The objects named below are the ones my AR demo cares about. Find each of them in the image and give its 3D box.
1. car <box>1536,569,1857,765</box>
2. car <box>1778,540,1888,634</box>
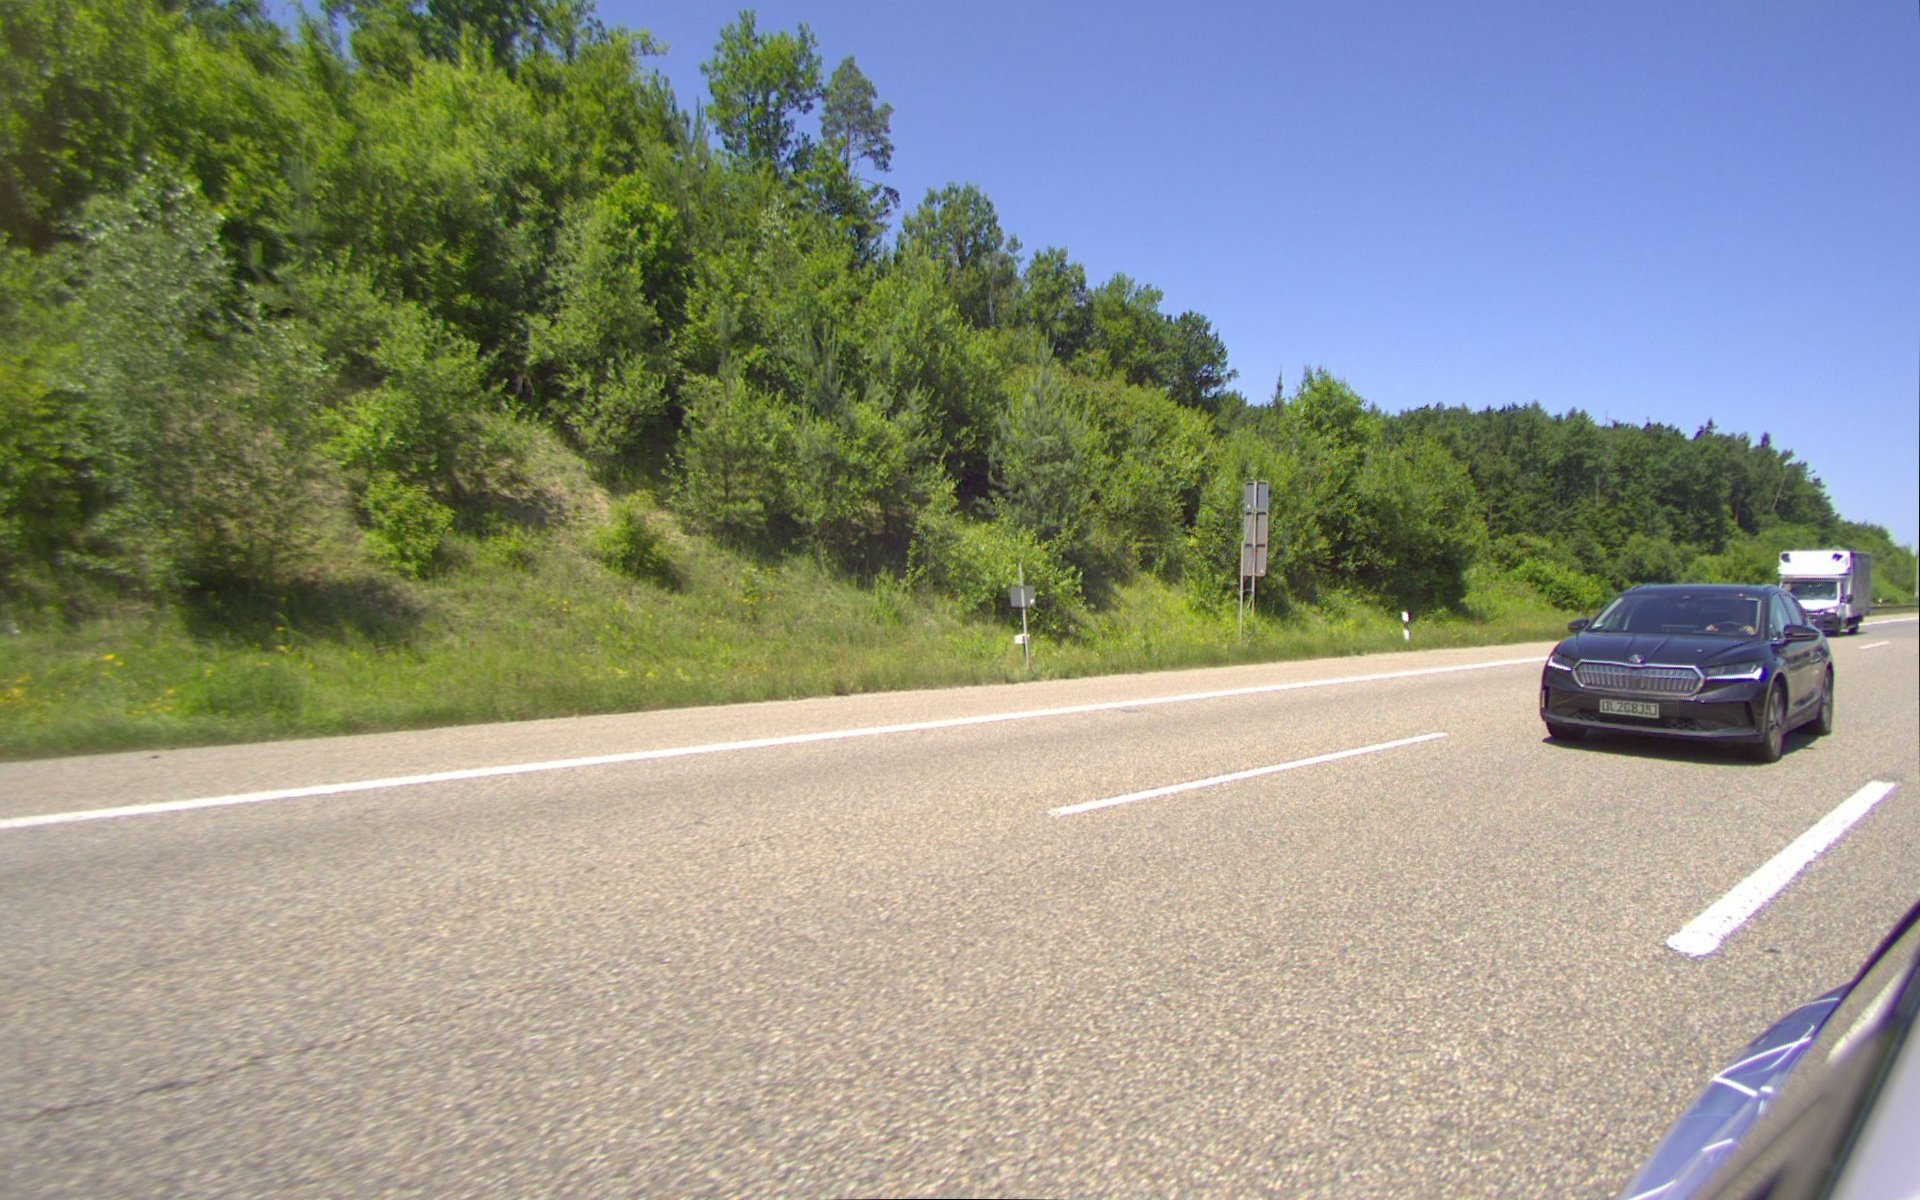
[{"bbox_3d":[7.901,0.509,10.685,4.383,1.639,1.987,-1,1,-44],"label":"car"},{"bbox_3d":[34.504,-0.522,39.881,7.491,3.378,2.301,-1,1,-41],"label":"car"}]
